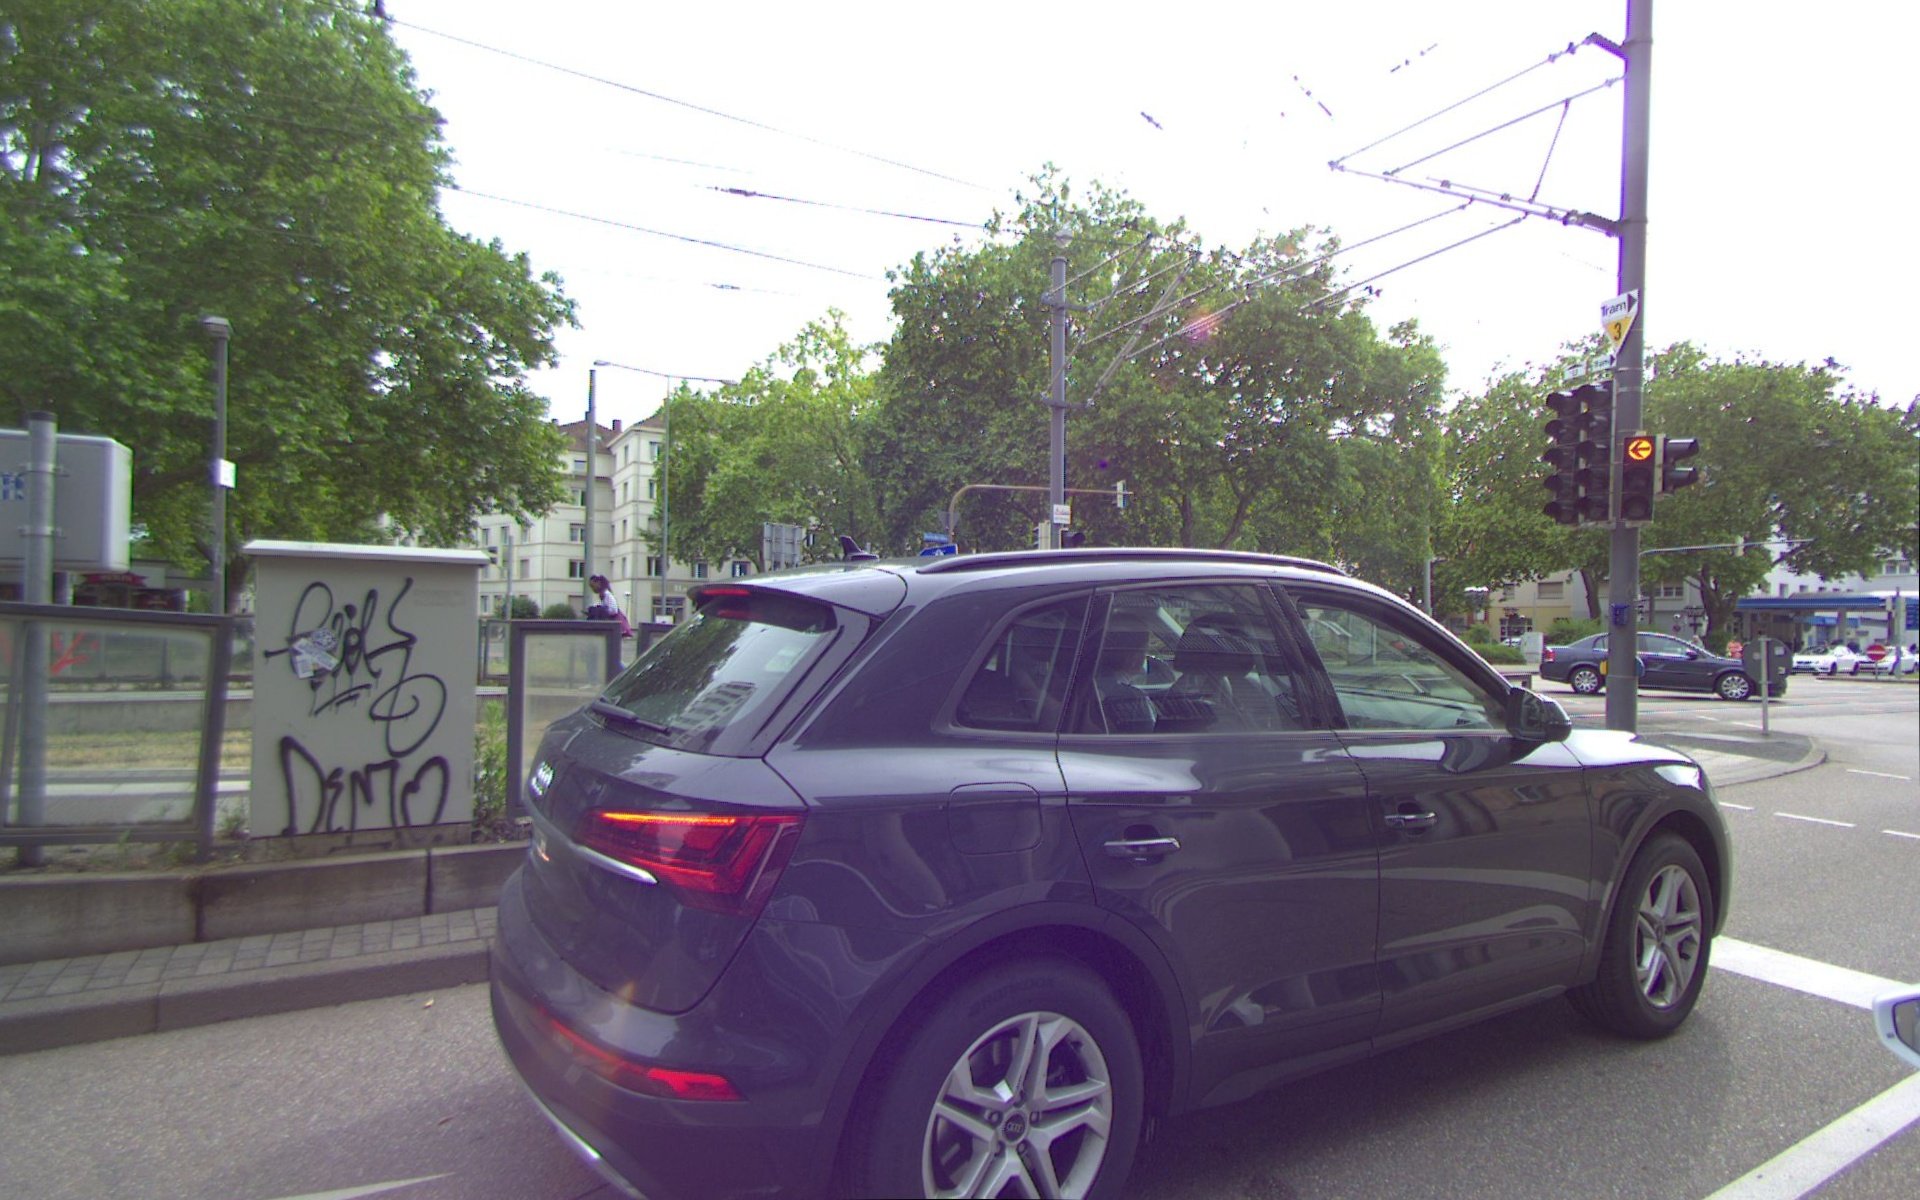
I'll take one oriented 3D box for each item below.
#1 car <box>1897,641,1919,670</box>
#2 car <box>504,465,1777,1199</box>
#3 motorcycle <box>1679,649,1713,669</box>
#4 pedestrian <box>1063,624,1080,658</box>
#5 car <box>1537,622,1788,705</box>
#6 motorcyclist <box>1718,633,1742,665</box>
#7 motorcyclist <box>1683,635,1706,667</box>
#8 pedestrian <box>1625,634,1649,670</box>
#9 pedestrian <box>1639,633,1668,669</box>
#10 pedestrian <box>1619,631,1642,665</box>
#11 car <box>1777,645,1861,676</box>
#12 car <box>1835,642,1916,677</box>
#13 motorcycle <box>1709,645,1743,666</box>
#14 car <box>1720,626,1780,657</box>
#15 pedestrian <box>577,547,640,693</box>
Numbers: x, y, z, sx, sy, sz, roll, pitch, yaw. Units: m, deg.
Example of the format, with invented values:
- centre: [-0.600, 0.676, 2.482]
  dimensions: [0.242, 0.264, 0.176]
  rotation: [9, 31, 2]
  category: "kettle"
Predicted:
- centre: [52.773, 3.039, 54.594]
  dimensions: [3.593, 1.497, 1.649]
  rotation: [2, 0, -29]
  category: "car"
- centre: [0.817, 0.660, 3.450]
  dimensions: [4.177, 1.658, 1.725]
  rotation: [2, 0, -30]
  category: "car"
- centre: [35.936, 2.867, 49.018]
  dimensions: [1.928, 0.941, 0.604]
  rotation: [2, -1, -30]
  category: "motorcycle"
- centre: [5.179, 1.906, 46.652]
  dimensions: [0.644, 1.530, 0.683]
  rotation: [1, -1, -3]
  category: "pedestrian"
- centre: [15.725, 1.353, 22.686]
  dimensions: [4.464, 1.584, 1.993]
  rotation: [1, -1, 37]
  category: "car"
- centre: [37.226, 2.372, 48.562]
  dimensions: [0.863, 1.540, 0.617]
  rotation: [2, -1, -30]
  category: "motorcyclist"
- centre: [35.795, 2.488, 48.936]
  dimensions: [0.863, 1.540, 0.617]
  rotation: [2, -1, -30]
  category: "motorcyclist"
- centre: [33.204, 2.535, 49.278]
  dimensions: [0.677, 1.735, 0.870]
  rotation: [1, -1, 8]
  category: "pedestrian"
- centre: [34.002, 2.489, 49.223]
  dimensions: [0.858, 1.735, 0.875]
  rotation: [1, -1, 8]
  category: "pedestrian"
- centre: [35.132, 2.506, 52.648]
  dimensions: [0.732, 1.713, 0.681]
  rotation: [2, 0, -25]
  category: "pedestrian"
- centre: [41.371, 2.914, 48.367]
  dimensions: [4.025, 1.338, 1.739]
  rotation: [2, 0, -29]
  category: "car"
- centre: [46.970, 3.027, 51.512]
  dimensions: [3.953, 1.615, 1.984]
  rotation: [2, 0, -30]
  category: "car"
- centre: [36.921, 2.673, 48.423]
  dimensions: [1.928, 0.941, 0.604]
  rotation: [2, -1, -30]
  category: "motorcycle"
- centre: [54.541, 2.880, 69.312]
  dimensions: [3.953, 2.040, 1.984]
  rotation: [2, -1, -30]
  category: "car"
- centre: [-4.933, 0.275, 14.080]
  dimensions: [0.658, 1.976, 0.732]
  rotation: [2, 0, -30]
  category: "pedestrian"
